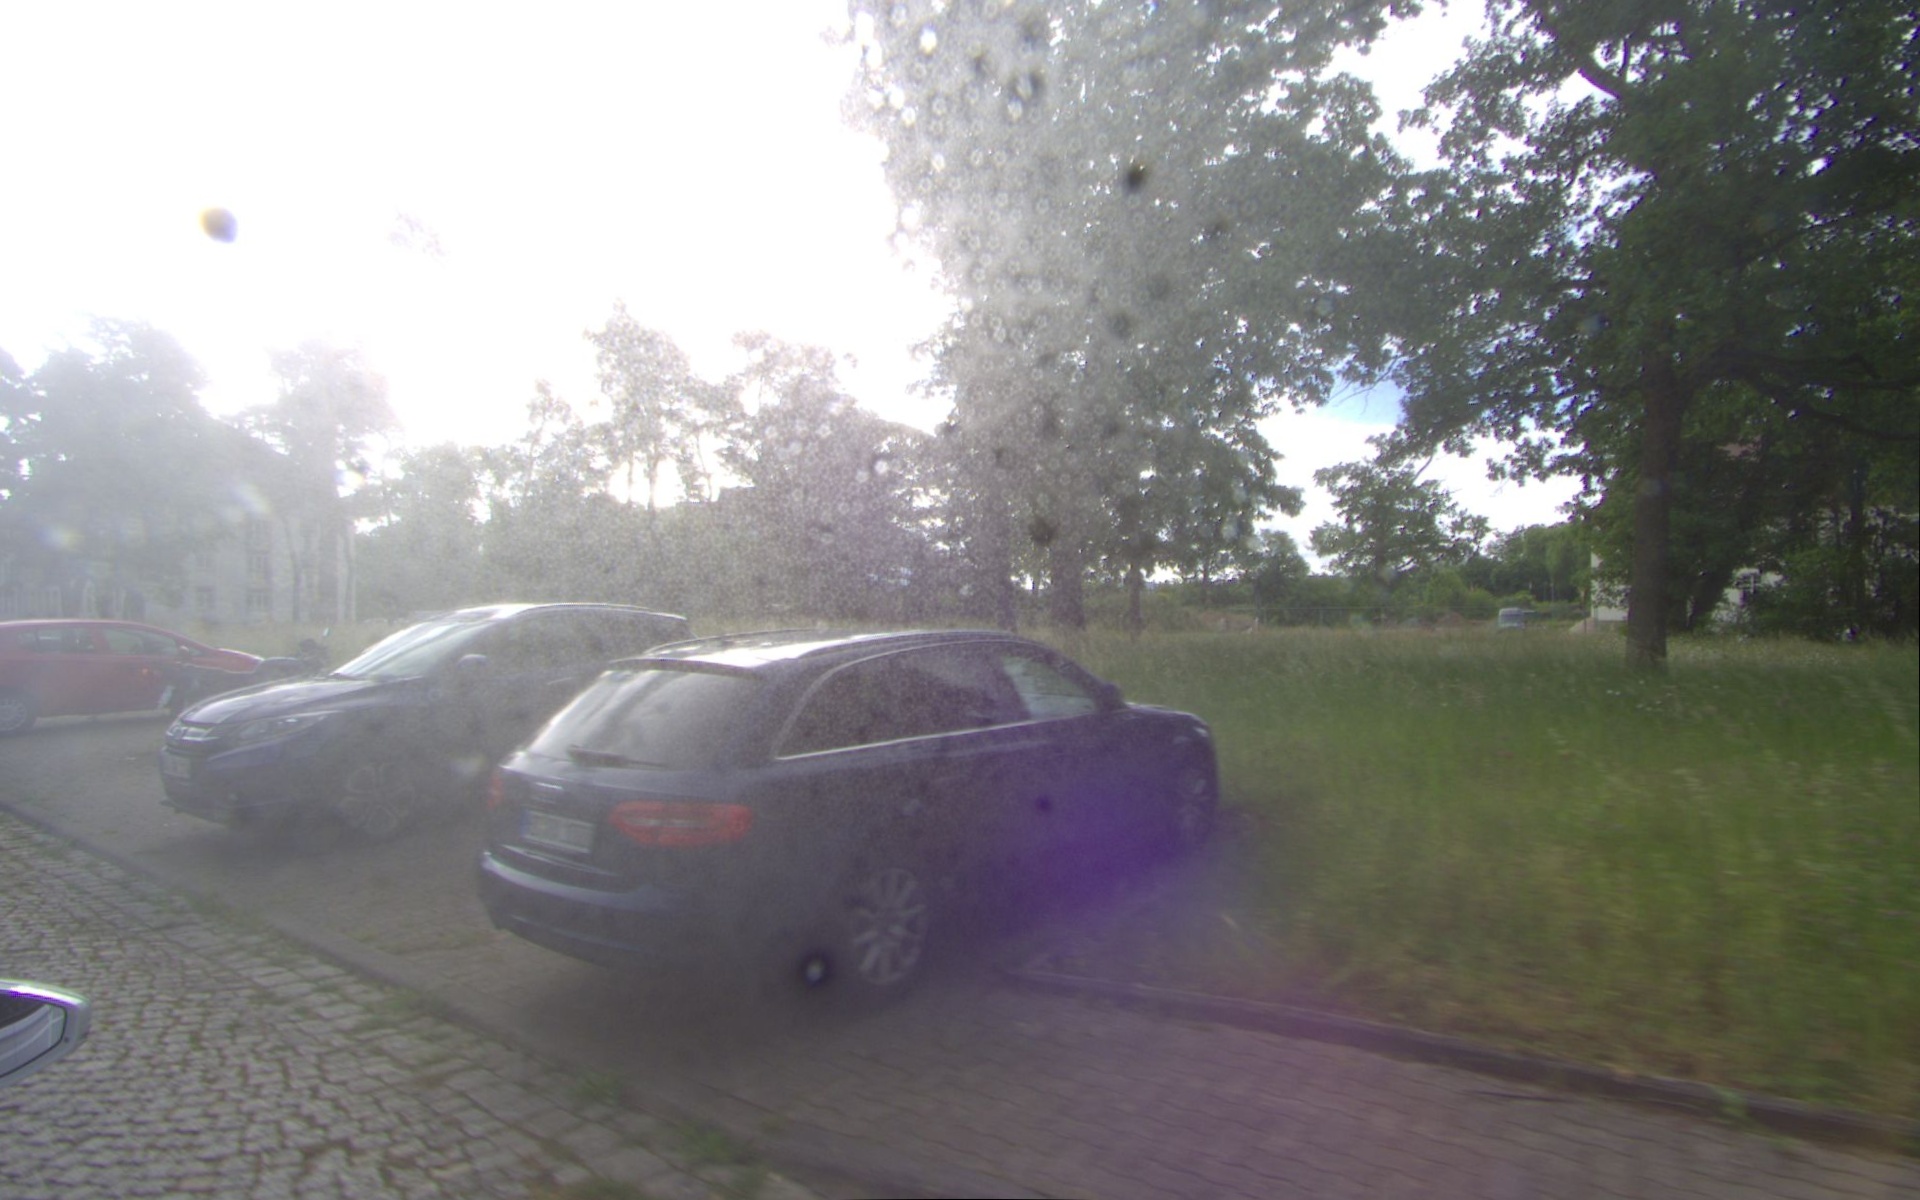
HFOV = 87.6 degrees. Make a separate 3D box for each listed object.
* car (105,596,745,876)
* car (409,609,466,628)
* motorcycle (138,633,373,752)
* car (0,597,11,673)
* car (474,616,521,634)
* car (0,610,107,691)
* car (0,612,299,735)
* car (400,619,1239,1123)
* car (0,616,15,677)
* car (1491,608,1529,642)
[{"bbox_3d":[-3.956,0.805,8.152,1.860,1.644,4.234,0,0,34],"label":"car"},{"bbox_3d":[-58.654,2.099,112.396,2.078,2.045,5.285,-1,-2,36],"label":"car"},{"bbox_3d":[-8.305,1.036,11.932,0.560,1.218,2.224,0,0,33],"label":"motorcycle"},{"bbox_3d":[-27.489,0.935,25.305,1.939,2.030,4.783,0,0,34],"label":"car"},{"bbox_3d":[-49.424,2.694,107.108,1.876,1.826,4.120,-1,-2,37],"label":"car"},{"bbox_3d":[-20.283,1.028,20.283,1.926,1.616,4.193,0,0,33],"label":"car"},{"bbox_3d":[-12.029,0.958,14.344,1.760,1.516,3.913,0,0,34],"label":"car"},{"bbox_3d":[-0.286,0.867,5.344,1.903,1.458,4.339,0,0,38],"label":"car"},{"bbox_3d":[-25.472,1.163,23.809,1.697,1.498,4.088,0,0,33],"label":"car"},{"bbox_3d":[45.603,2.116,83.114,2.240,2.674,5.668,0,-2,23],"label":"car"}]
